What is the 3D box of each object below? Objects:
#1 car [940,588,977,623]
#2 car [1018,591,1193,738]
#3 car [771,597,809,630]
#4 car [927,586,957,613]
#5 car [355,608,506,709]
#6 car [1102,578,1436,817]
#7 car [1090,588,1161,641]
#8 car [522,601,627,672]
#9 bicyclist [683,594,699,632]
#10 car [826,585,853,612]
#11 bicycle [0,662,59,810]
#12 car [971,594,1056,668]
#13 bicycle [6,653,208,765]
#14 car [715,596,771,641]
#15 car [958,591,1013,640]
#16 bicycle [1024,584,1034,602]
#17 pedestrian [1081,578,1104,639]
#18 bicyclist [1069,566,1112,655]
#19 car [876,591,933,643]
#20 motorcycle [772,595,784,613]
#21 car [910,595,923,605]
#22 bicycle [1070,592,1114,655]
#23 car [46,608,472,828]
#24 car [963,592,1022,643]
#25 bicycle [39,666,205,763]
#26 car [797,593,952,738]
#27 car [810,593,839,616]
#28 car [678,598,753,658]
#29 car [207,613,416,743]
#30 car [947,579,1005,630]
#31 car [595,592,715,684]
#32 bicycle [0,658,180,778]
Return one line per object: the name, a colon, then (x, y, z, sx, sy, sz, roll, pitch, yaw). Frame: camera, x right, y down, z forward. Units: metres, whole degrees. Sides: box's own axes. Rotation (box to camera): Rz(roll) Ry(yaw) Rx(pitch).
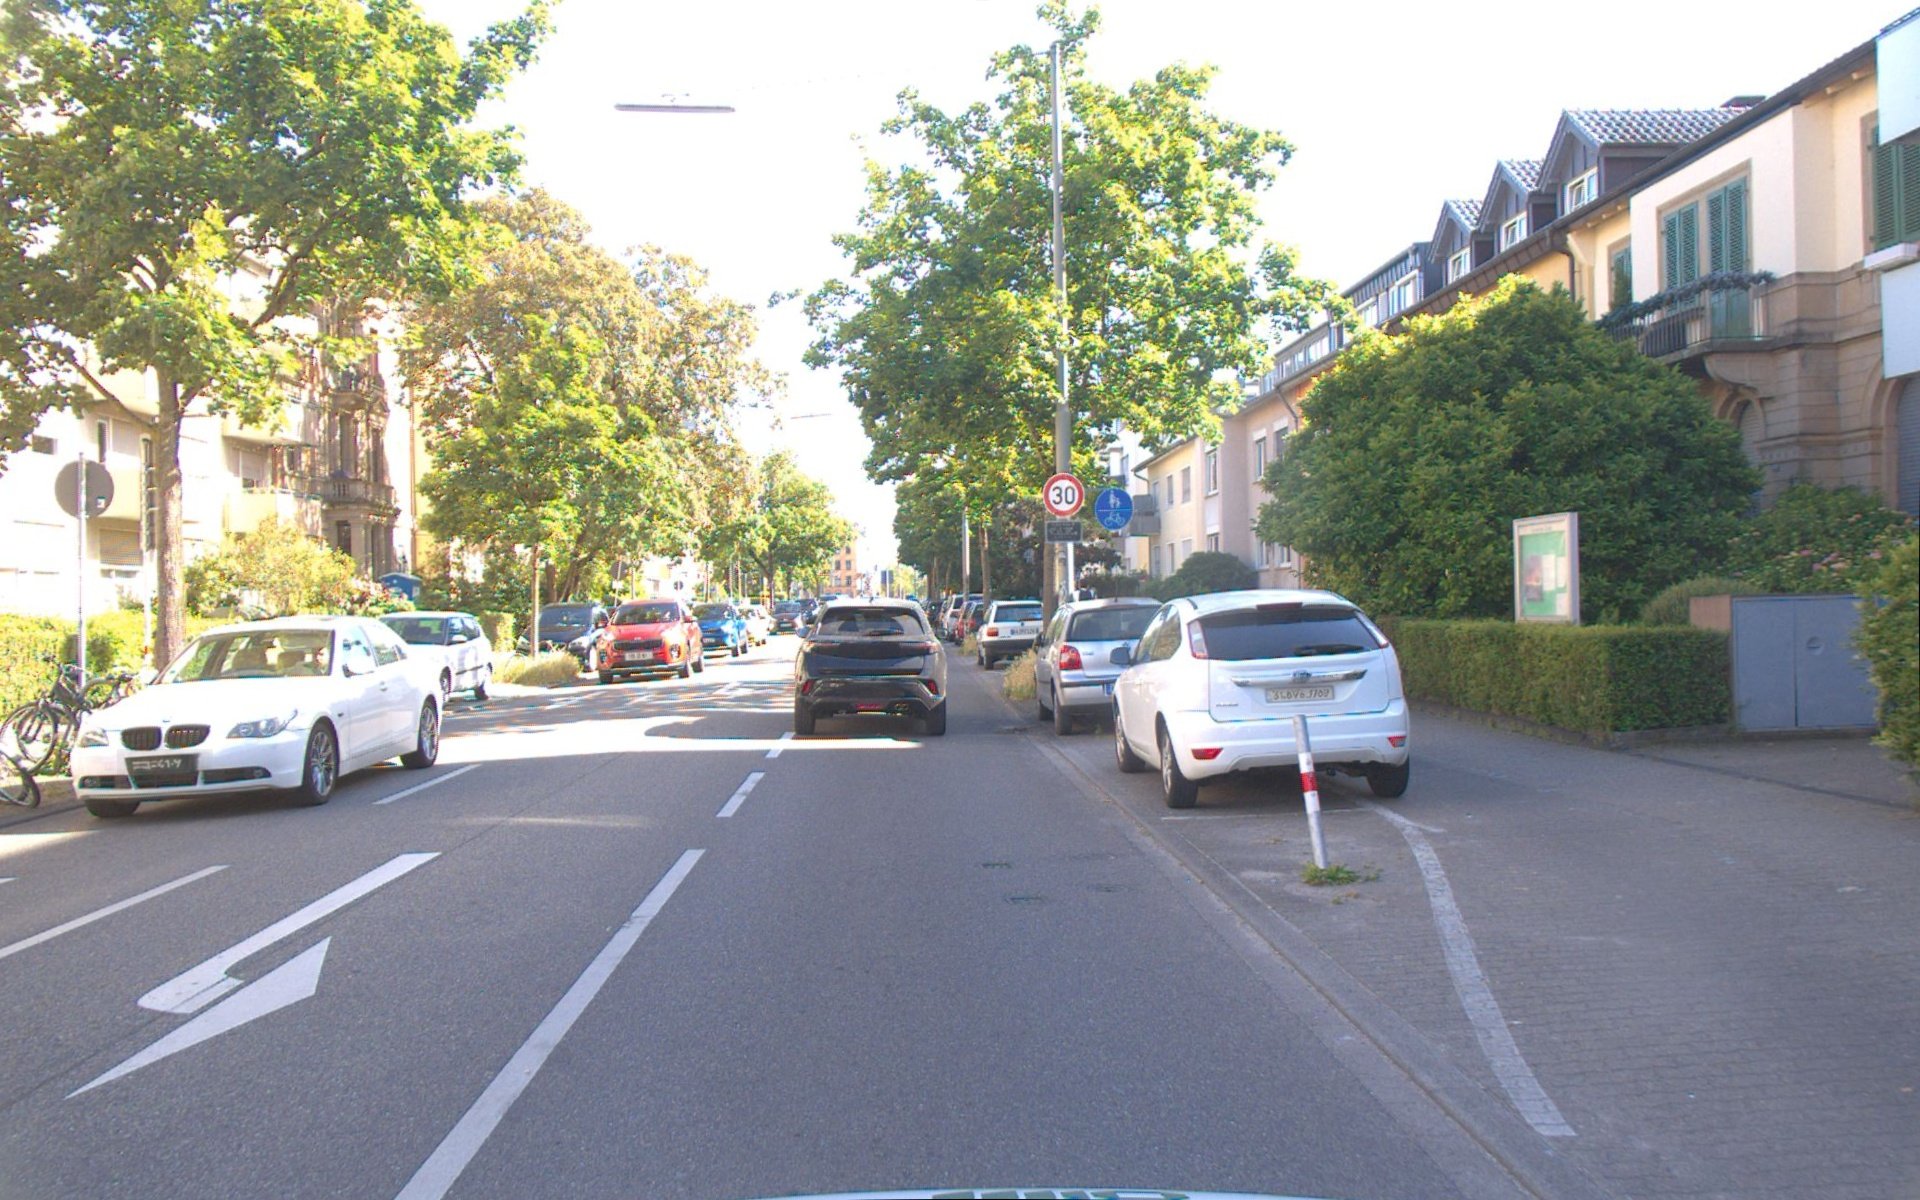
car: (-0.074, 0.235, 75.581, 1.587, 1.525, 3.648, -2, 0, -1)
car: (1.617, 0.685, 19.527, 1.535, 1.482, 3.863, -3, 0, -2)
car: (-8.064, 0.630, 78.548, 1.550, 1.477, 3.743, -3, 0, -3)
car: (-1.038, -0.032, 91.885, 1.554, 1.420, 4.453, -3, 0, -1)
car: (-8.748, 0.924, 27.589, 1.372, 1.515, 3.685, -1, 0, -1)
car: (2.241, 0.644, 13.126, 1.704, 1.507, 4.194, -3, 0, -2)
car: (4.806, 0.387, 48.400, 1.501, 1.379, 3.716, -4, 0, -2)
car: (-9.383, 0.845, 40.549, 1.636, 1.633, 4.393, -1, 0, -2)
bicyclist: (-12.749, 0.602, 78.329, 0.596, 1.785, 0.691, -2, 0, -2)
car: (-9.761, -0.137, 134.266, 1.976, 1.986, 5.175, -3, 0, -3)
bicycle: (-8.559, 1.111, 13.623, 1.930, 1.183, 0.518, 0, 0, -7)
car: (1.127, 0.638, 36.394, 1.616, 1.427, 3.969, -3, 0, -1)
bicycle: (-8.800, 1.123, 17.103, 1.790, 1.106, 0.492, 1, -1, -3)
car: (-7.663, 0.633, 58.564, 1.602, 1.427, 3.733, -3, 0, -3)
car: (0.793, 0.475, 53.460, 1.501, 1.474, 3.715, -2, 0, -3)
bicycle: (5.331, -0.565, 127.843, 0.610, 1.309, 1.841, -4, 0, -2)
pedestrian: (3.768, 0.253, 47.139, 0.527, 1.706, 0.493, -2, 0, -2)
bicyclist: (2.765, 0.222, 35.124, 0.709, 1.824, 1.015, -3, 0, -2)
car: (-1.844, 0.545, 55.313, 1.793, 1.606, 3.838, -2, 0, -1)
motorcycle: (-11.960, 0.253, 108.715, 0.451, 1.145, 1.718, -1, 1, 6)
car: (-6.829, -0.003, 259.561, 1.953, 1.546, 3.999, 1, 0, 0)
bicycle: (2.776, 0.483, 34.980, 0.684, 1.268, 1.821, -3, 0, -2)
car: (-5.918, 0.886, 14.691, 1.777, 1.490, 4.776, -4, 0, -2)
car: (0.919, 0.490, 48.984, 1.501, 1.379, 3.716, -2, 0, -2)
bicycle: (-8.936, 1.215, 17.658, 1.506, 0.982, 0.447, 1, -1, -3)
car: (-1.005, 0.723, 20.053, 1.710, 1.601, 3.556, 0, 0, -2)
car: (-9.186, 0.308, 112.708, 1.699, 1.437, 4.190, -4, 0, -2)
car: (-7.019, 0.775, 47.819, 1.623, 1.543, 4.074, -4, 0, -2)
car: (-8.552, 0.962, 22.135, 1.474, 1.501, 3.893, -1, 0, -4)
car: (0.545, 0.157, 60.100, 1.734, 1.688, 4.338, -3, 0, -4)
car: (-6.338, 0.737, 34.771, 1.687, 1.645, 4.298, -4, 1, -1)
bicycle: (-8.670, 1.146, 16.162, 1.790, 1.106, 0.559, 1, -1, -3)
